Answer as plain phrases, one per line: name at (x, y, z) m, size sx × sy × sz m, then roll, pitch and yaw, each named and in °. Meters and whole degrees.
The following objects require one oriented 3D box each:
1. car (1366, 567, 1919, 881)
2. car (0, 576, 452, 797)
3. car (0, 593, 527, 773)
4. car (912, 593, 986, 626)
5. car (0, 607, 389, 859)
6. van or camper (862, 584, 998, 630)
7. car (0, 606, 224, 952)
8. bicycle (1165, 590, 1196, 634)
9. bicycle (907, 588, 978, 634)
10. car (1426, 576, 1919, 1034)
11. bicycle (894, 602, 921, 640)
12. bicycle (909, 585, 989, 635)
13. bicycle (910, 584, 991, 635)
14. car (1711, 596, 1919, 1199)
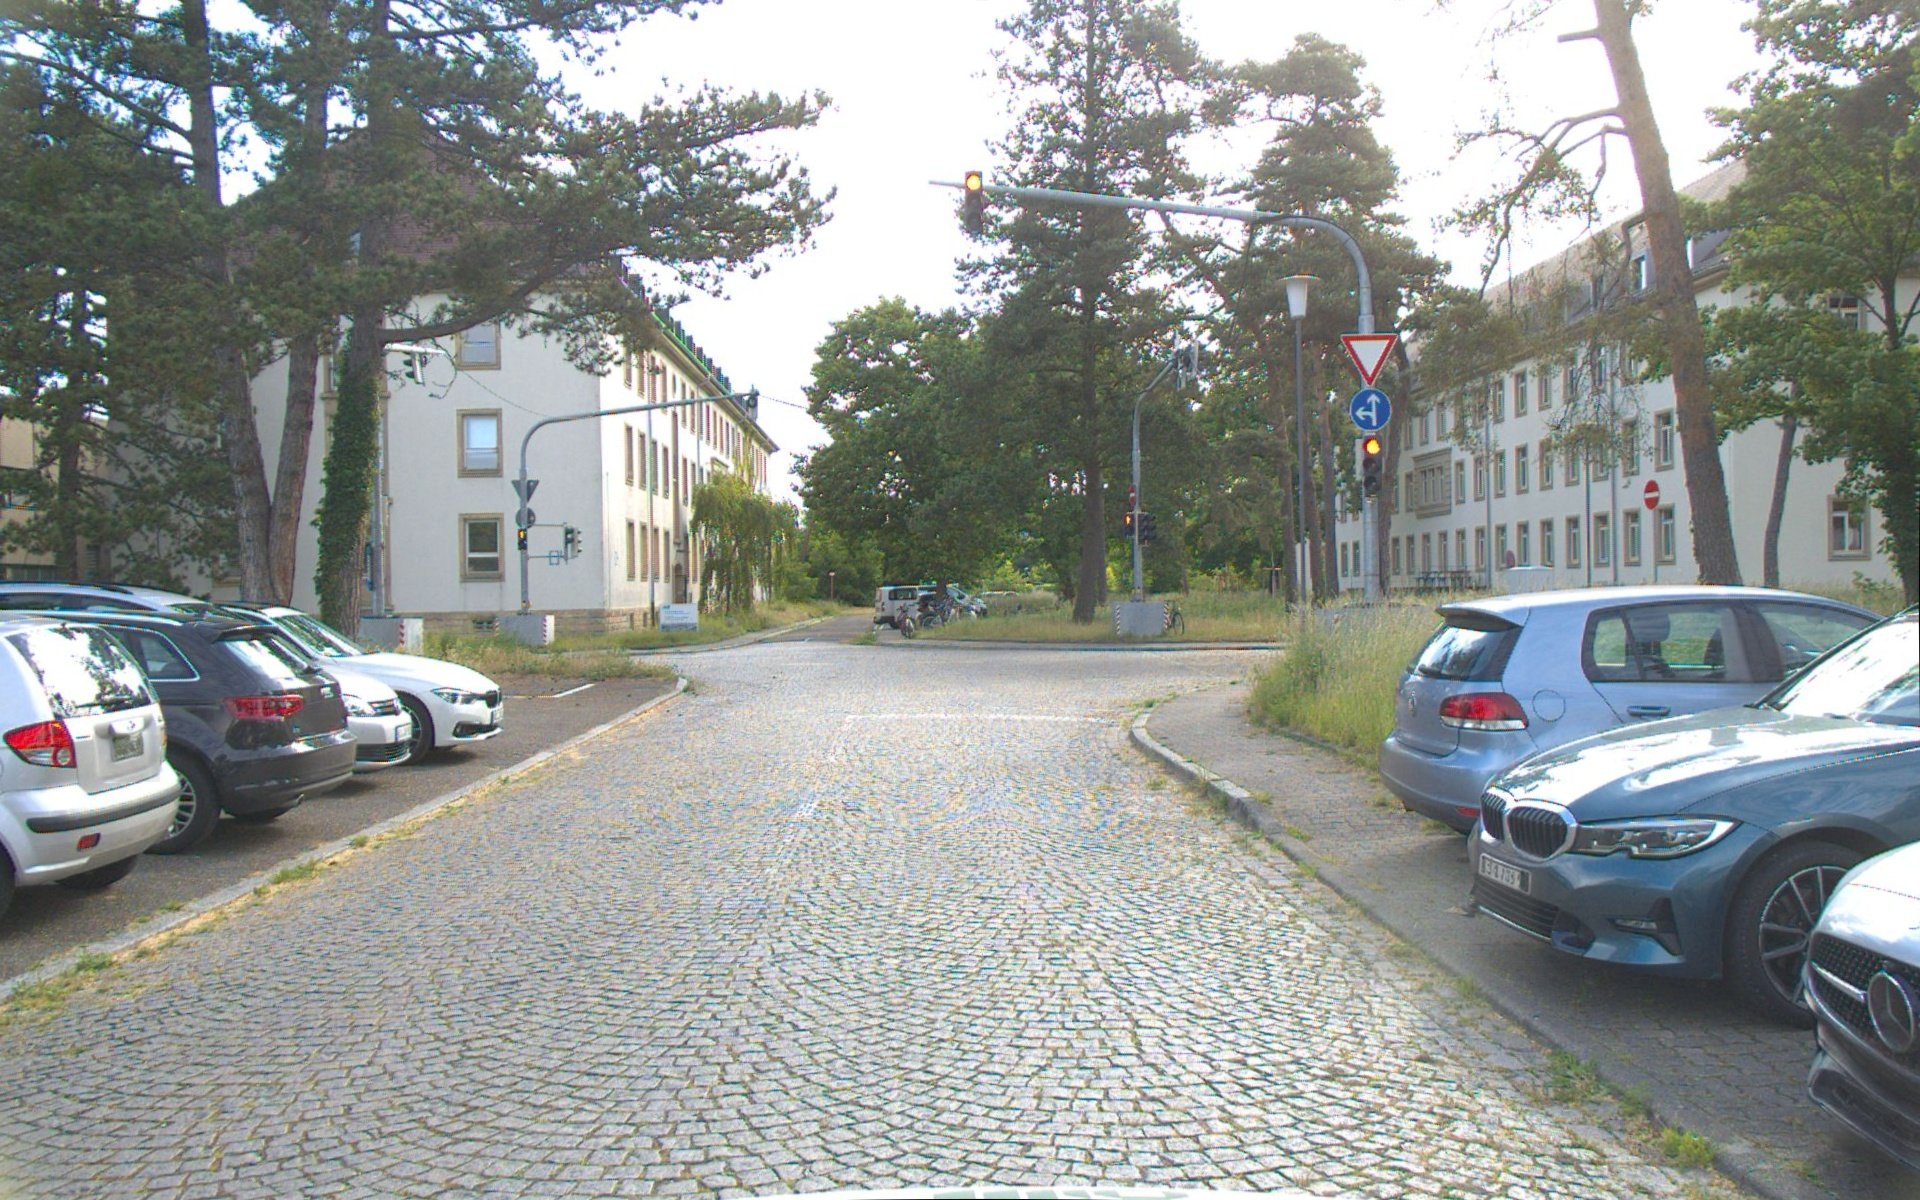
car at (4.380, 0.600, 9.241) m, size 3.765 × 1.496 × 1.641 m, roll -2°, pitch 0°, yaw -3°
car at (-6.304, 0.661, 13.553) m, size 3.756 × 1.635 × 1.734 m, roll 1°, pitch 0°, yaw -5°
car at (-6.605, 0.764, 15.963) m, size 4.391 × 1.467 × 1.828 m, roll 2°, pitch 0°, yaw -5°
car at (-0.495, 0.421, 72.568) m, size 3.078 × 1.378 × 1.617 m, roll -1°, pitch 0°, yaw -8°
car at (-5.867, 0.787, 10.662) m, size 3.759 × 1.433 × 1.695 m, roll 1°, pitch 0°, yaw -3°
van or camper at (-1.376, 0.308, 76.101) m, size 5.933 × 1.983 × 1.992 m, roll -1°, pitch 0°, yaw -16°
car at (-5.720, 0.770, 8.046) m, size 3.506 × 1.501 × 1.646 m, roll 1°, pitch 0°, yaw -4°
bicycle at (6.191, 0.330, 46.565) m, size 0.708 × 1.189 × 2.738 m, roll 1°, pitch 0°, yaw 5°
bicycle at (-0.682, 0.423, 64.248) m, size 2.719 × 1.724 × 1.120 m, roll 1°, pitch 0°, yaw -1°
car at (4.351, 0.650, 6.631) m, size 4.424 × 1.509 × 1.806 m, roll -1°, pitch 0°, yaw -4°
bicycle at (-1.694, 0.674, 53.835) m, size 0.711 × 1.127 × 2.462 m, roll -6°, pitch 0°, yaw 0°
bicycle at (-0.412, 0.348, 59.352) m, size 2.724 × 1.723 × 1.118 m, roll -1°, pitch 0°, yaw -9°
bicycle at (-0.354, 0.323, 58.159) m, size 2.723 × 1.723 × 1.118 m, roll -1°, pitch 0°, yaw -7°
car at (4.320, 0.665, 3.955) m, size 4.239 × 1.453 × 1.766 m, roll -2°, pitch 0°, yaw -3°
